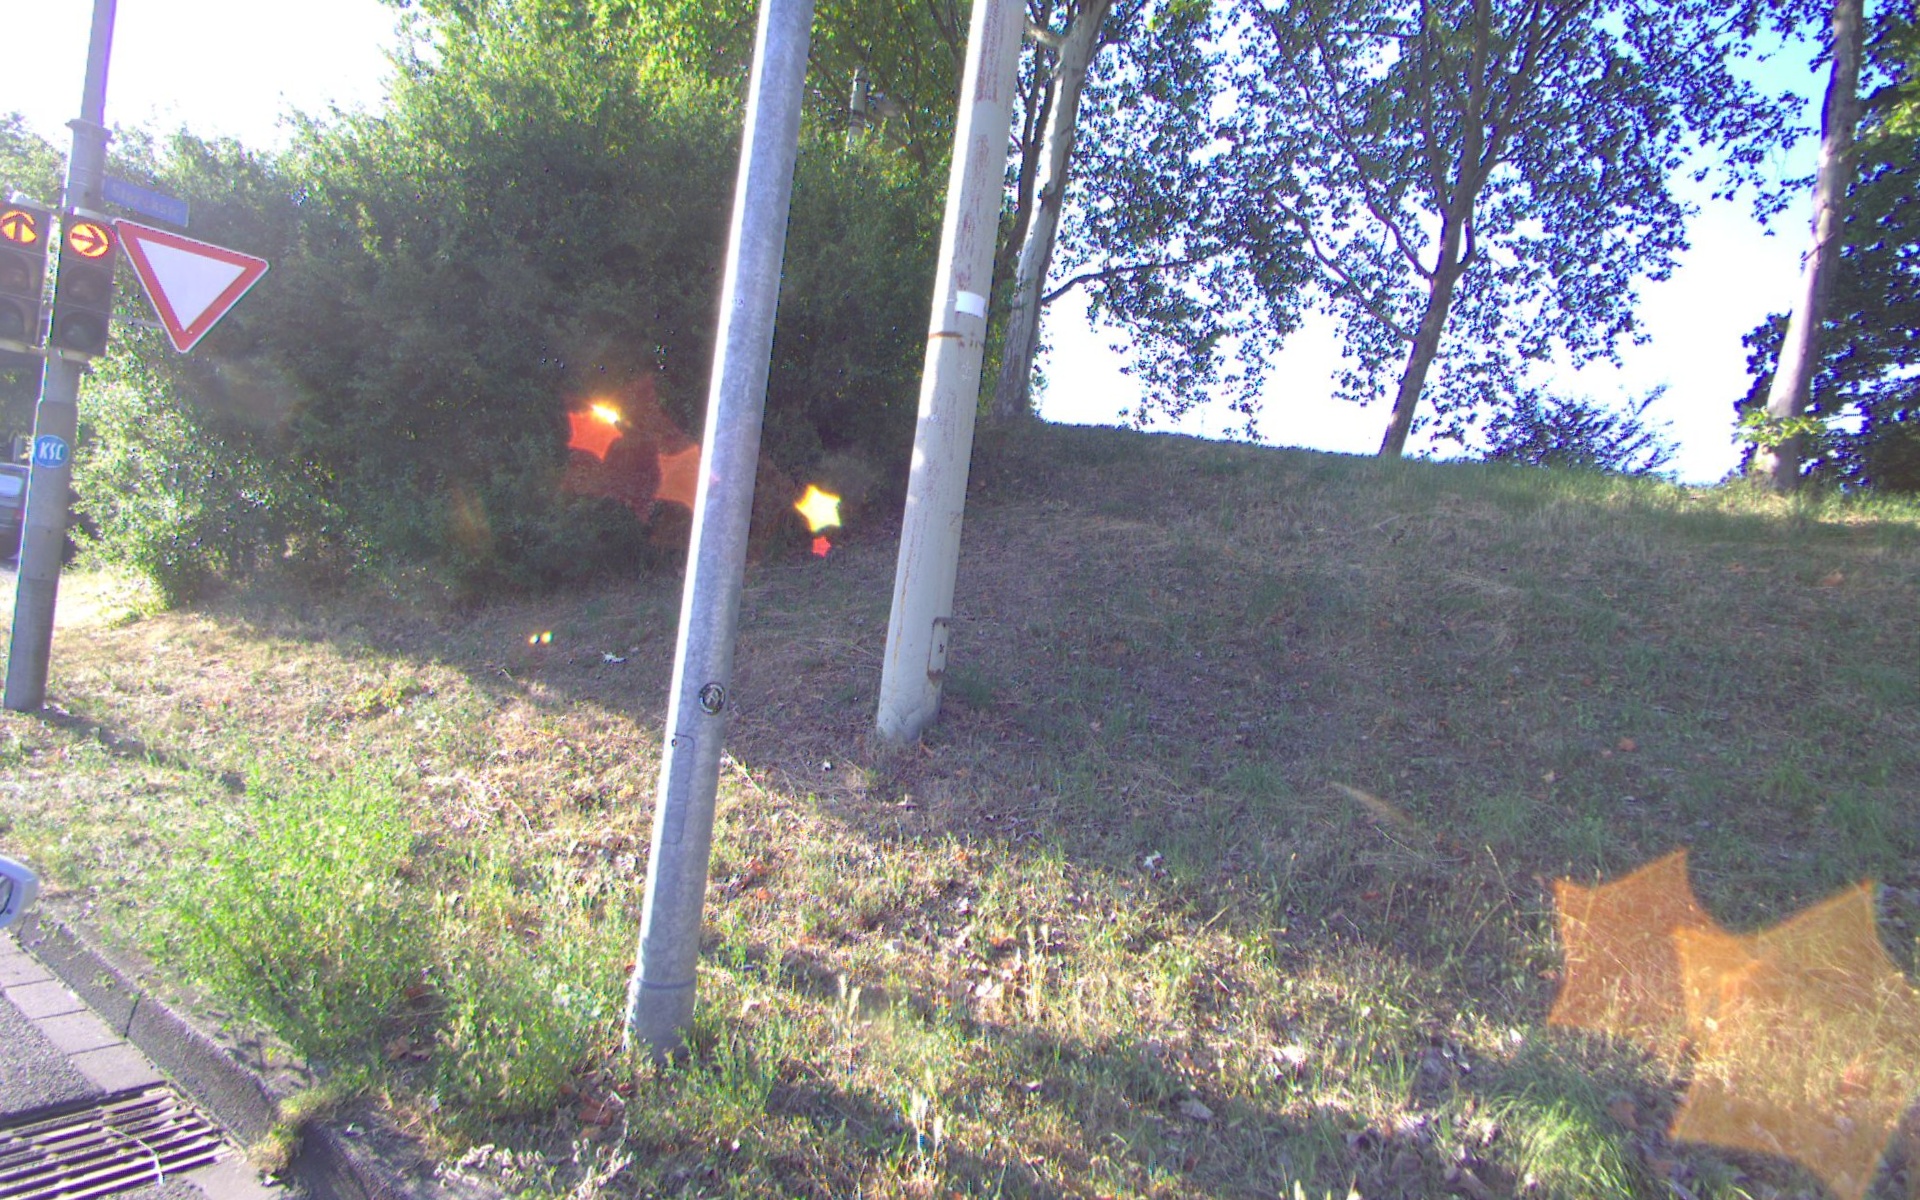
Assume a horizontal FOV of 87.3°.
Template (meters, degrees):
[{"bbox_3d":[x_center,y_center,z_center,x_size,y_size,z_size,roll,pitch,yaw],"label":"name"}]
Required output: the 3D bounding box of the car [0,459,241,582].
[{"bbox_3d":[-18.818,-1.668,21.936,1.998,2.014,4.949,7,-1,10],"label":"car"}]
